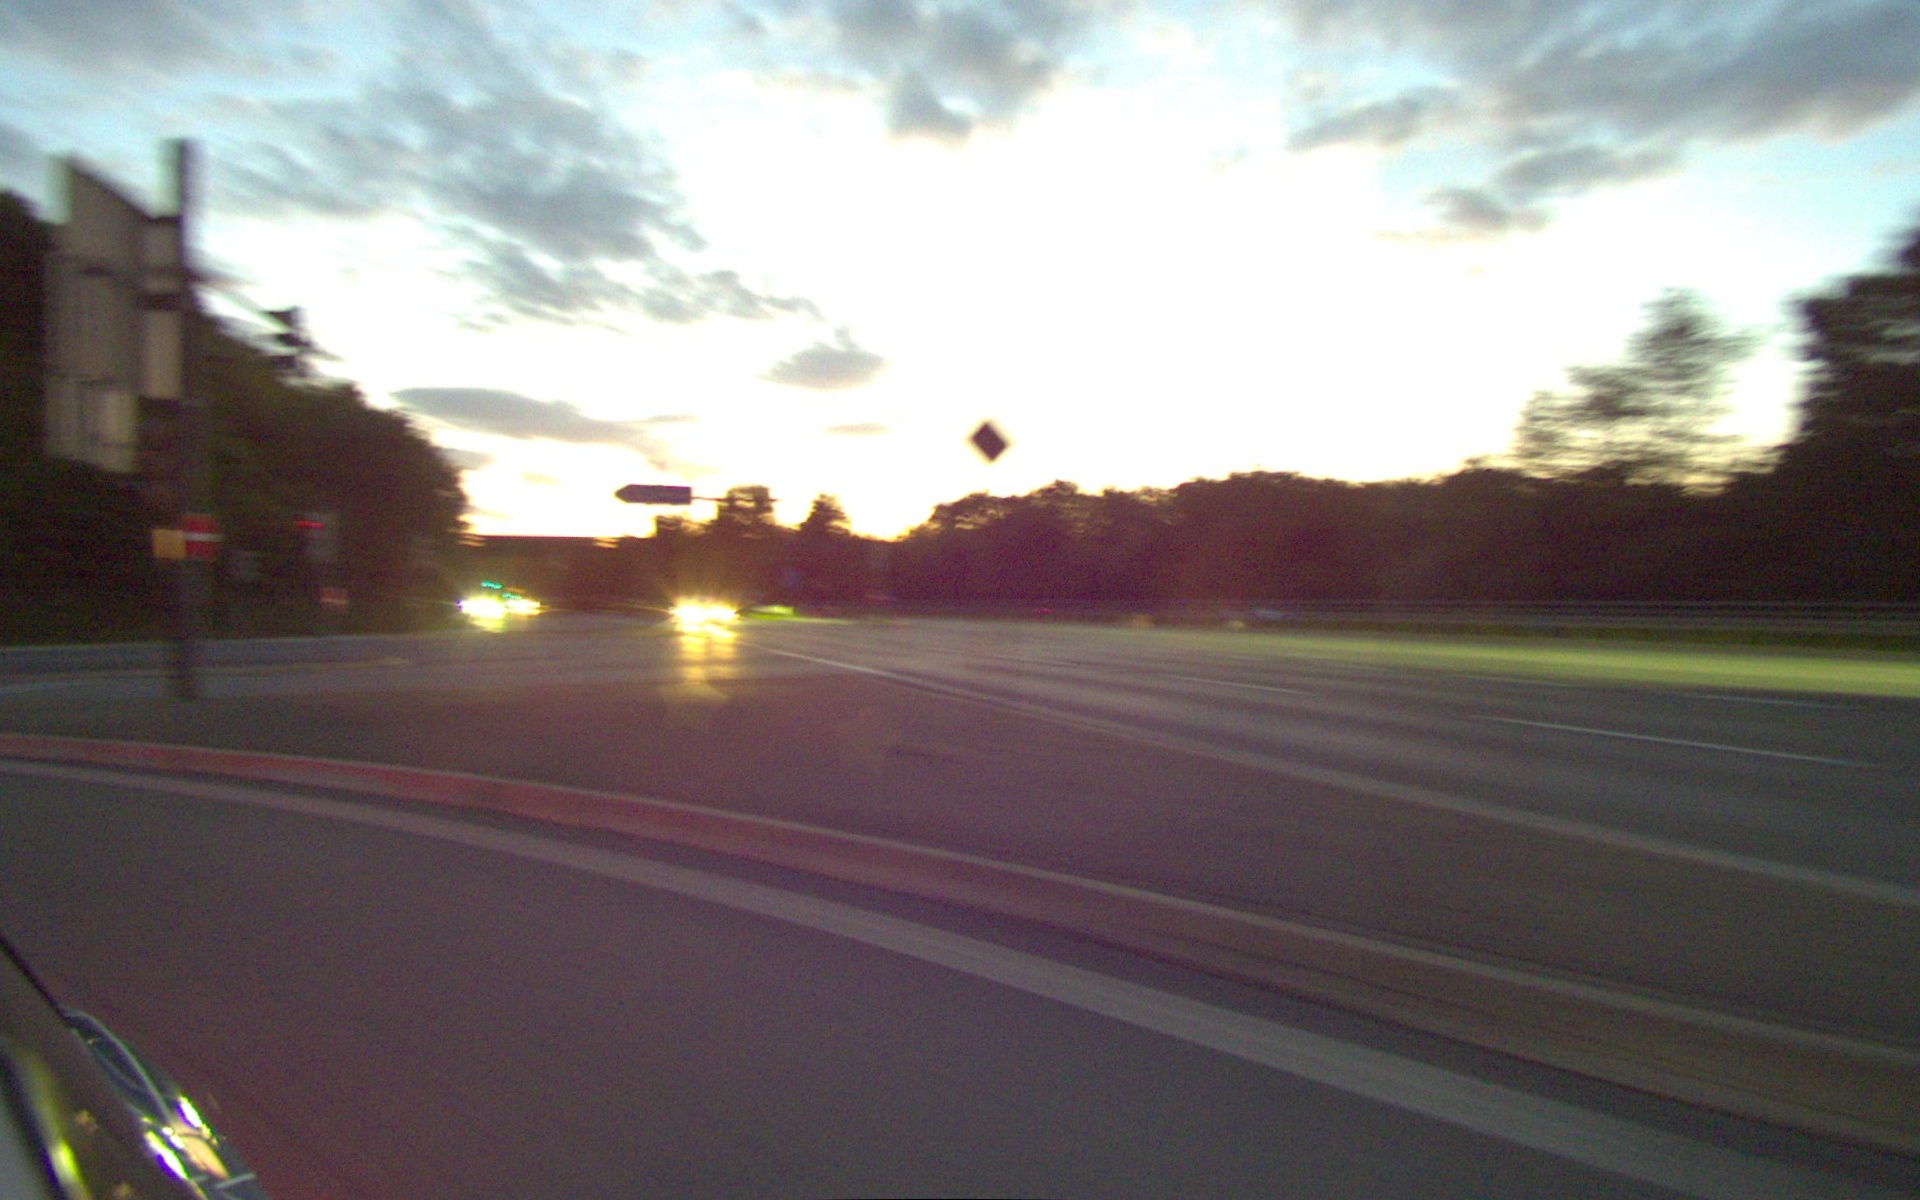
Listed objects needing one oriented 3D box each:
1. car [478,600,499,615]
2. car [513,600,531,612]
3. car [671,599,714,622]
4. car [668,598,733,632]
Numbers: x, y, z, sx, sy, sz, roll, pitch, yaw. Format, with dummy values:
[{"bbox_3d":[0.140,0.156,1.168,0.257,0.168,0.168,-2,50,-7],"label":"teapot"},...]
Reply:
[{"bbox_3d":[-56.476,0.930,121.304,1.974,1.741,4.013,-1,0,-20],"label":"car"},{"bbox_3d":[-62.111,0.871,143.509,2.024,1.608,4.013,-1,0,-20],"label":"car"},{"bbox_3d":[-18.008,0.701,68.060,1.965,1.464,4.750,-1,0,-25],"label":"car"},{"bbox_3d":[-11.875,0.675,46.151,1.965,1.464,4.013,1,-1,-28],"label":"car"}]
